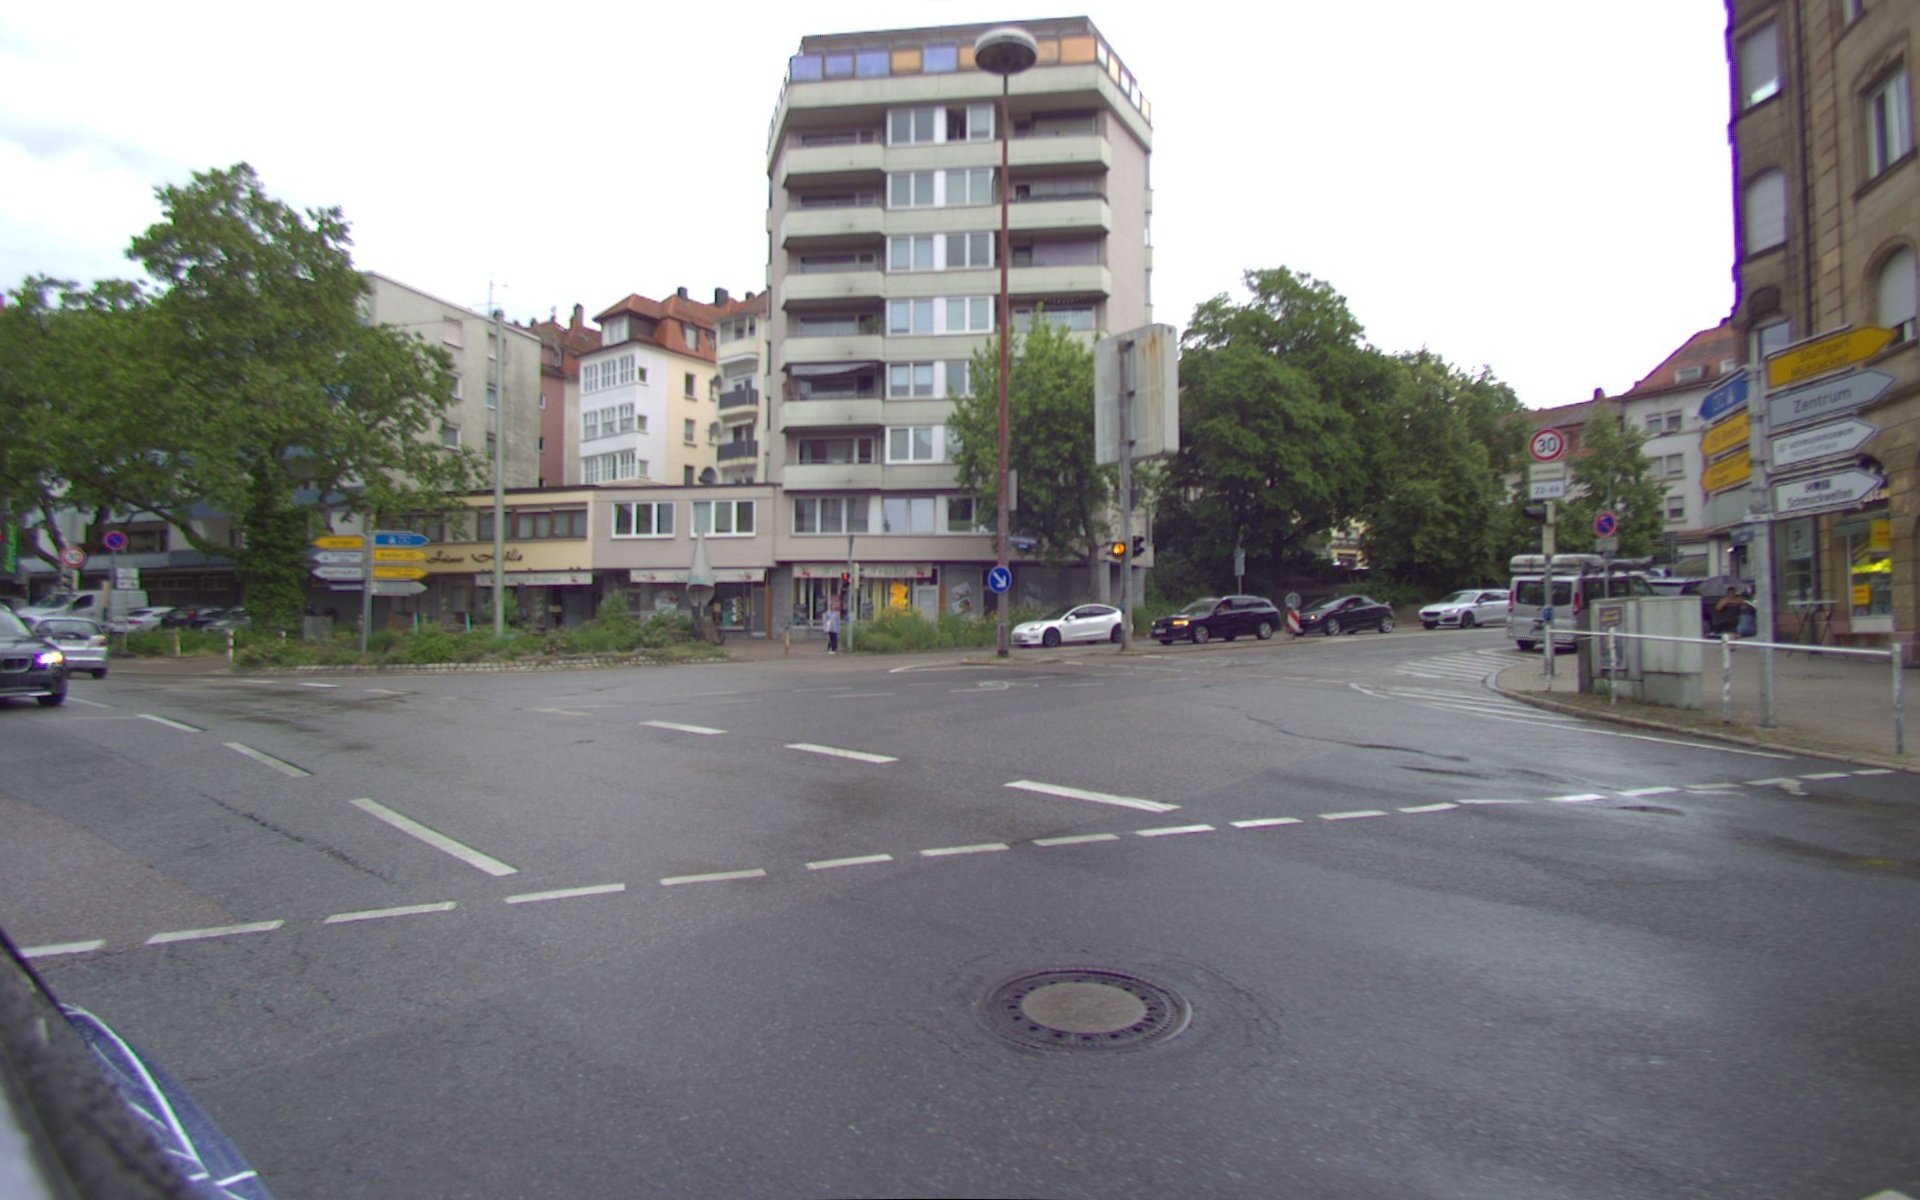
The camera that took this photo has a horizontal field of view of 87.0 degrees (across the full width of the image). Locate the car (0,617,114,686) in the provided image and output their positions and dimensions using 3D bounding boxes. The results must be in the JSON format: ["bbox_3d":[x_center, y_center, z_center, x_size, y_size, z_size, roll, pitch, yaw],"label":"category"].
[{"bbox_3d":[-22.049,1.180,24.326,3.860,1.530,1.612,-1,-1,34],"label":"car"}]

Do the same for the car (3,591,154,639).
[{"bbox_3d":[-39.075,0.635,45.034,1.861,1.992,4.958,1,0,12],"label":"car"}]

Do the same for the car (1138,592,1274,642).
[{"bbox_3d":[7.765,0.528,31.952,3.954,1.503,1.772,0,-2,-28],"label":"car"}]

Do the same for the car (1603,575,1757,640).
[{"bbox_3d":[20.585,0.204,28.920,4.306,1.717,2.006,0,0,-30],"label":"car"}]

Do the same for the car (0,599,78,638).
[{"bbox_3d":[-43.782,0.836,47.095,1.788,1.702,3.820,2,-1,13],"label":"car"}]

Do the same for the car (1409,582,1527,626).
[{"bbox_3d":[18.993,0.174,37.792,4.228,1.549,1.744,0,-2,-28],"label":"car"}]

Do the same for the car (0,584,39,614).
[{"bbox_3d":[-47.615,-0.052,49.484,1.657,1.416,3.835,1,2,1],"label":"car"}]

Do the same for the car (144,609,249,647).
[{"bbox_3d":[-32.083,1.146,42.652,1.609,1.426,3.619,1,0,2],"label":"car"}]

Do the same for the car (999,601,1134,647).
[{"bbox_3d":[3.712,0.802,35.189,4.317,1.503,1.920,0,0,-28],"label":"car"}]

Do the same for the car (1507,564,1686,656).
[{"bbox_3d":[16.557,0.248,26.278,4.722,2.185,2.006,0,0,-30],"label":"car"}]

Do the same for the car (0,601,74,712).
[{"bbox_3d":[-15.105,0.799,15.127,4.202,1.546,1.738,-1,-1,33],"label":"car"}]

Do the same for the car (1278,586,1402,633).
[{"bbox_3d":[13.066,0.334,34.783,3.954,1.503,1.772,0,-2,-28],"label":"car"}]

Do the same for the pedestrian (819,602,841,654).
[{"bbox_3d":[-4.344,0.923,33.801,0.609,1.706,0.627,0,0,-17],"label":"pedestrian"}]

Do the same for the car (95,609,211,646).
[{"bbox_3d":[-34.347,1.138,43.200,1.790,1.426,3.698,1,0,6],"label":"car"}]

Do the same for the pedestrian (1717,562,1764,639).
[{"bbox_3d":[17.358,0.012,22.524,0.782,1.674,0.662,0,0,35],"label":"pedestrian"}]

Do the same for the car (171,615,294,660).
[{"bbox_3d":[-29.924,1.489,41.802,1.915,1.655,4.213,1,0,2],"label":"car"}]

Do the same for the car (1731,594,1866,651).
[{"bbox_3d":[26.839,0.702,32.366,4.143,1.717,2.006,0,-1,-30],"label":"car"}]

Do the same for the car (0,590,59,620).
[{"bbox_3d":[-46.037,0.209,48.641,1.673,1.416,3.823,1,-1,11],"label":"car"}]
